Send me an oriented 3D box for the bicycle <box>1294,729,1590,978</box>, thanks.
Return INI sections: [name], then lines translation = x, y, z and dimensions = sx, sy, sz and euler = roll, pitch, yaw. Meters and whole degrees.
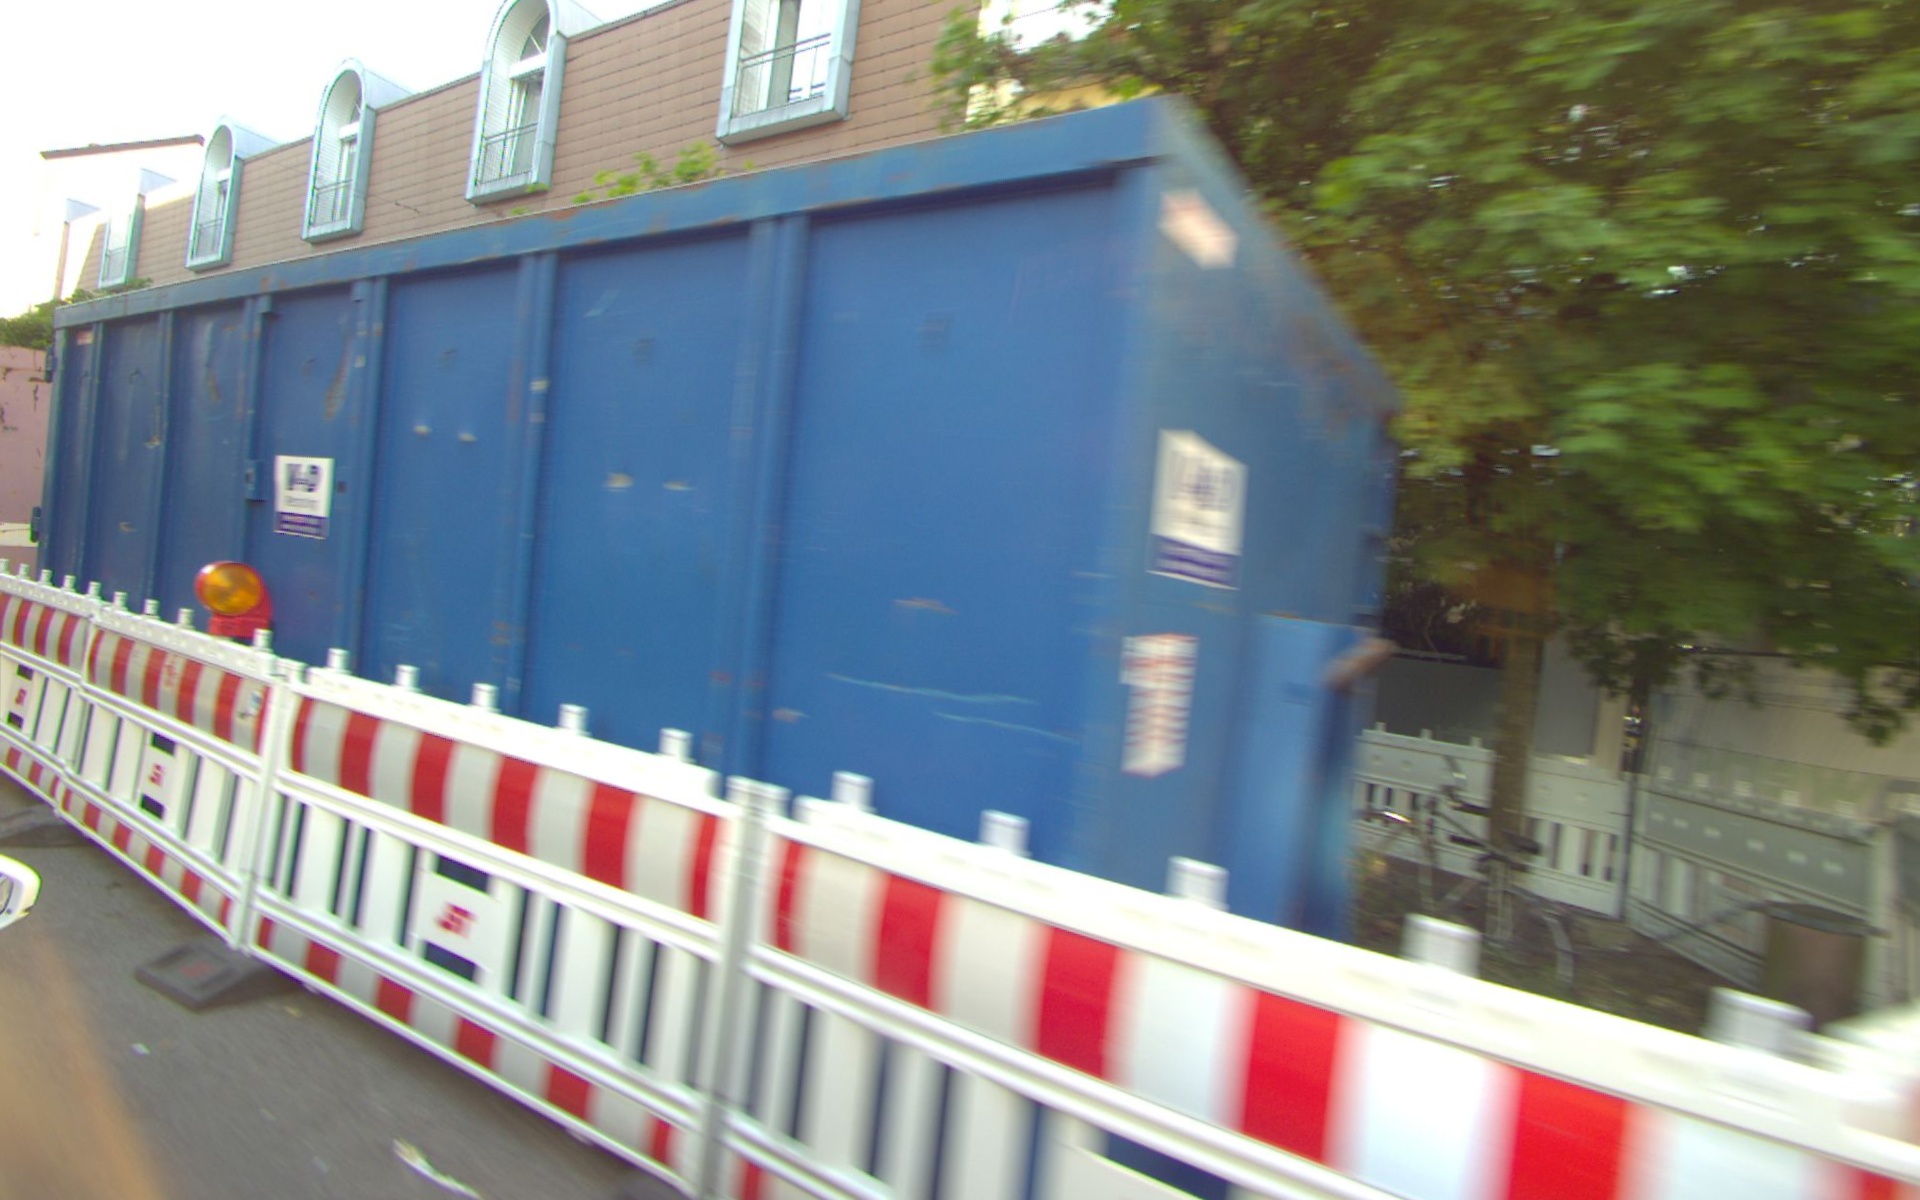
[bicycle]
translation = 2.737, 1.403, 5.836
dimensions = 0.564, 1.081, 1.355
euler = 9, -3, -32
